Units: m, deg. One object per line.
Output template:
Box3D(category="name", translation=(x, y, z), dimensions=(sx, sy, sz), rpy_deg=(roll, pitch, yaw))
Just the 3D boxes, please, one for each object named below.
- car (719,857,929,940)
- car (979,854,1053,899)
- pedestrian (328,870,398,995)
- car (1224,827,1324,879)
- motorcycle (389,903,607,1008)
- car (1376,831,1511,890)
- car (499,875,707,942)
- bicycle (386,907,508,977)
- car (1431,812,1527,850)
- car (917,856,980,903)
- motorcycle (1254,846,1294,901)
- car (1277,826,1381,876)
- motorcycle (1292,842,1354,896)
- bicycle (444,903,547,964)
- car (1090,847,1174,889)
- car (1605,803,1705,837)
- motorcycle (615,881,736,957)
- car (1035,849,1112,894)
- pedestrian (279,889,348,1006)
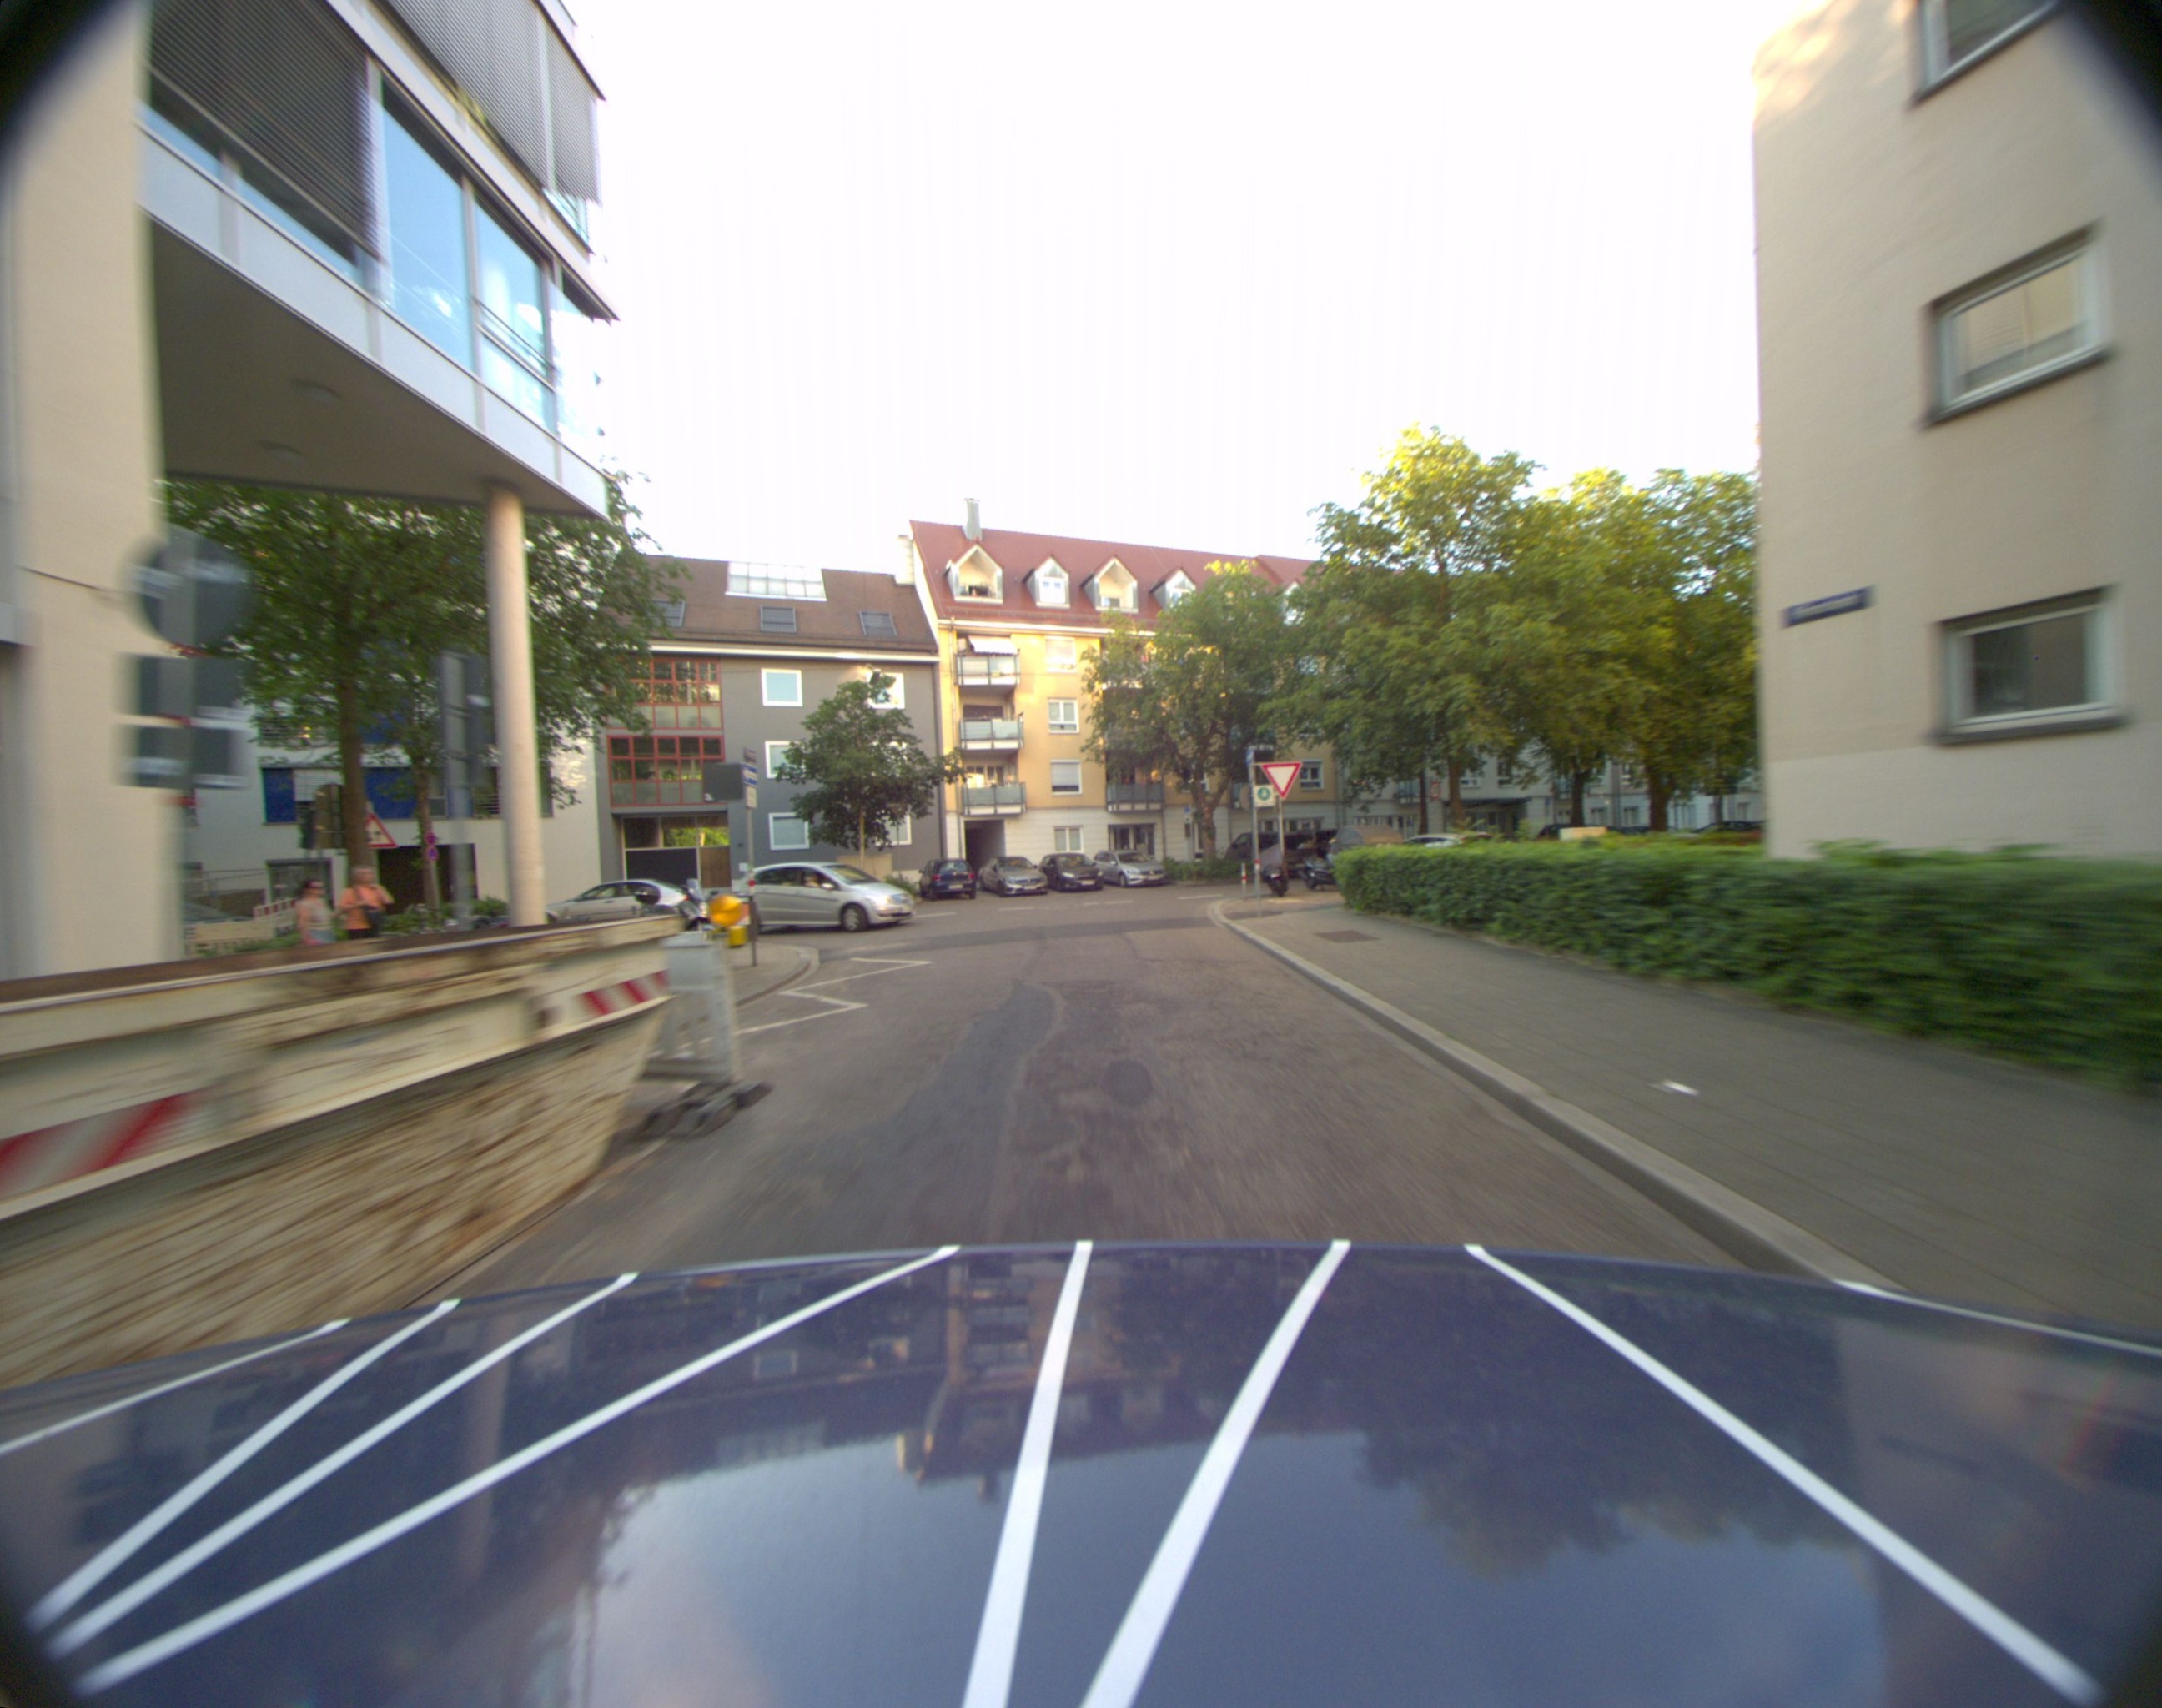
Box3D(category="car", translation=(-5.920, 1.019, 17.595), dimensions=(4.264, 1.607, 1.808), rpy_deg=(-4, -1, 17))
Box3D(category="car", translation=(-2.620, 0.816, 29.711), dimensions=(1.749, 1.395, 4.238), rpy_deg=(-2, 3, -20))
Box3D(category="pedestrian", translation=(-10.203, 1.100, 10.803), dimensions=(0.407, 1.694, 0.513), rpy_deg=(-3, 1, 24))
Box3D(category="car", translation=(8.447, -0.132, 33.607), dimensions=(2.230, 2.065, 4.320), rpy_deg=(-2, 3, -20))
Box3D(category="motorcycle", translation=(-7.880, 1.331, 10.429), dimensions=(2.254, 1.117, 0.640), rpy_deg=(-4, 1, -30))
Box3D(category="car", translation=(10.434, 0.160, 22.132), dimensions=(1.634, 1.498, 3.496), rpy_deg=(-3, 1, -15))
Box3D(category="car", translation=(-13.108, 1.480, 21.208), dimensions=(4.541, 1.440, 1.888), rpy_deg=(-3, -2, -20))
Box3D(category="bicycle", translation=(-11.002, 1.513, 13.221), dimensions=(1.533, 1.035, 0.375), rpy_deg=(-3, 1, -22))
Box3D(category="car", translation=(20.026, -1.145, 38.381), dimensions=(2.001, 1.718, 3.992), rpy_deg=(-3, 3, -18))
Box3D(category="car", translation=(-5.076, 0.896, 28.751), dimensions=(1.634, 1.443, 3.849), rpy_deg=(-2, 3, -20))
Box3D(category="motorcycle", translation=(5.129, 0.479, 20.296), dimensions=(0.858, 1.345, 1.960), rpy_deg=(-2, 1, 11))
Box3D(category="car", translation=(11.027, -0.203, 34.098), dimensions=(2.230, 2.065, 4.320), rpy_deg=(-2, 3, -20))
Box3D(category="motorcycle", translation=(6.684, 0.386, 21.073), dimensions=(0.572, 1.398, 1.968), rpy_deg=(-3, 1, -17))
Box3D(category="bicycle", translation=(-11.708, 1.574, 15.226), dimensions=(1.533, 1.059, 0.375), rpy_deg=(-3, 1, -22))
Box3D(category="car", translation=(2.018, 0.501, 31.478), dimensions=(1.829, 1.460, 4.320), rpy_deg=(-2, 3, -20))
Box3D(category="car", translation=(31.718, -1.854, 42.136), dimensions=(2.001, 1.718, 3.992), rpy_deg=(-3, 3, -18))
Box3D(category="motorcycle", translation=(-7.933, 1.271, 14.849), dimensions=(2.203, 1.387, 0.802), rpy_deg=(-3, 0, 22))
Box3D(category="car", translation=(-0.391, 0.639, 30.519), dimensions=(1.749, 1.494, 4.238), rpy_deg=(-2, 3, -20))
Box3D(category="pedestrian", translation=(-10.484, 1.260, 10.383), dimensions=(0.407, 1.521, 0.472), rpy_deg=(-3, 1, 24))
